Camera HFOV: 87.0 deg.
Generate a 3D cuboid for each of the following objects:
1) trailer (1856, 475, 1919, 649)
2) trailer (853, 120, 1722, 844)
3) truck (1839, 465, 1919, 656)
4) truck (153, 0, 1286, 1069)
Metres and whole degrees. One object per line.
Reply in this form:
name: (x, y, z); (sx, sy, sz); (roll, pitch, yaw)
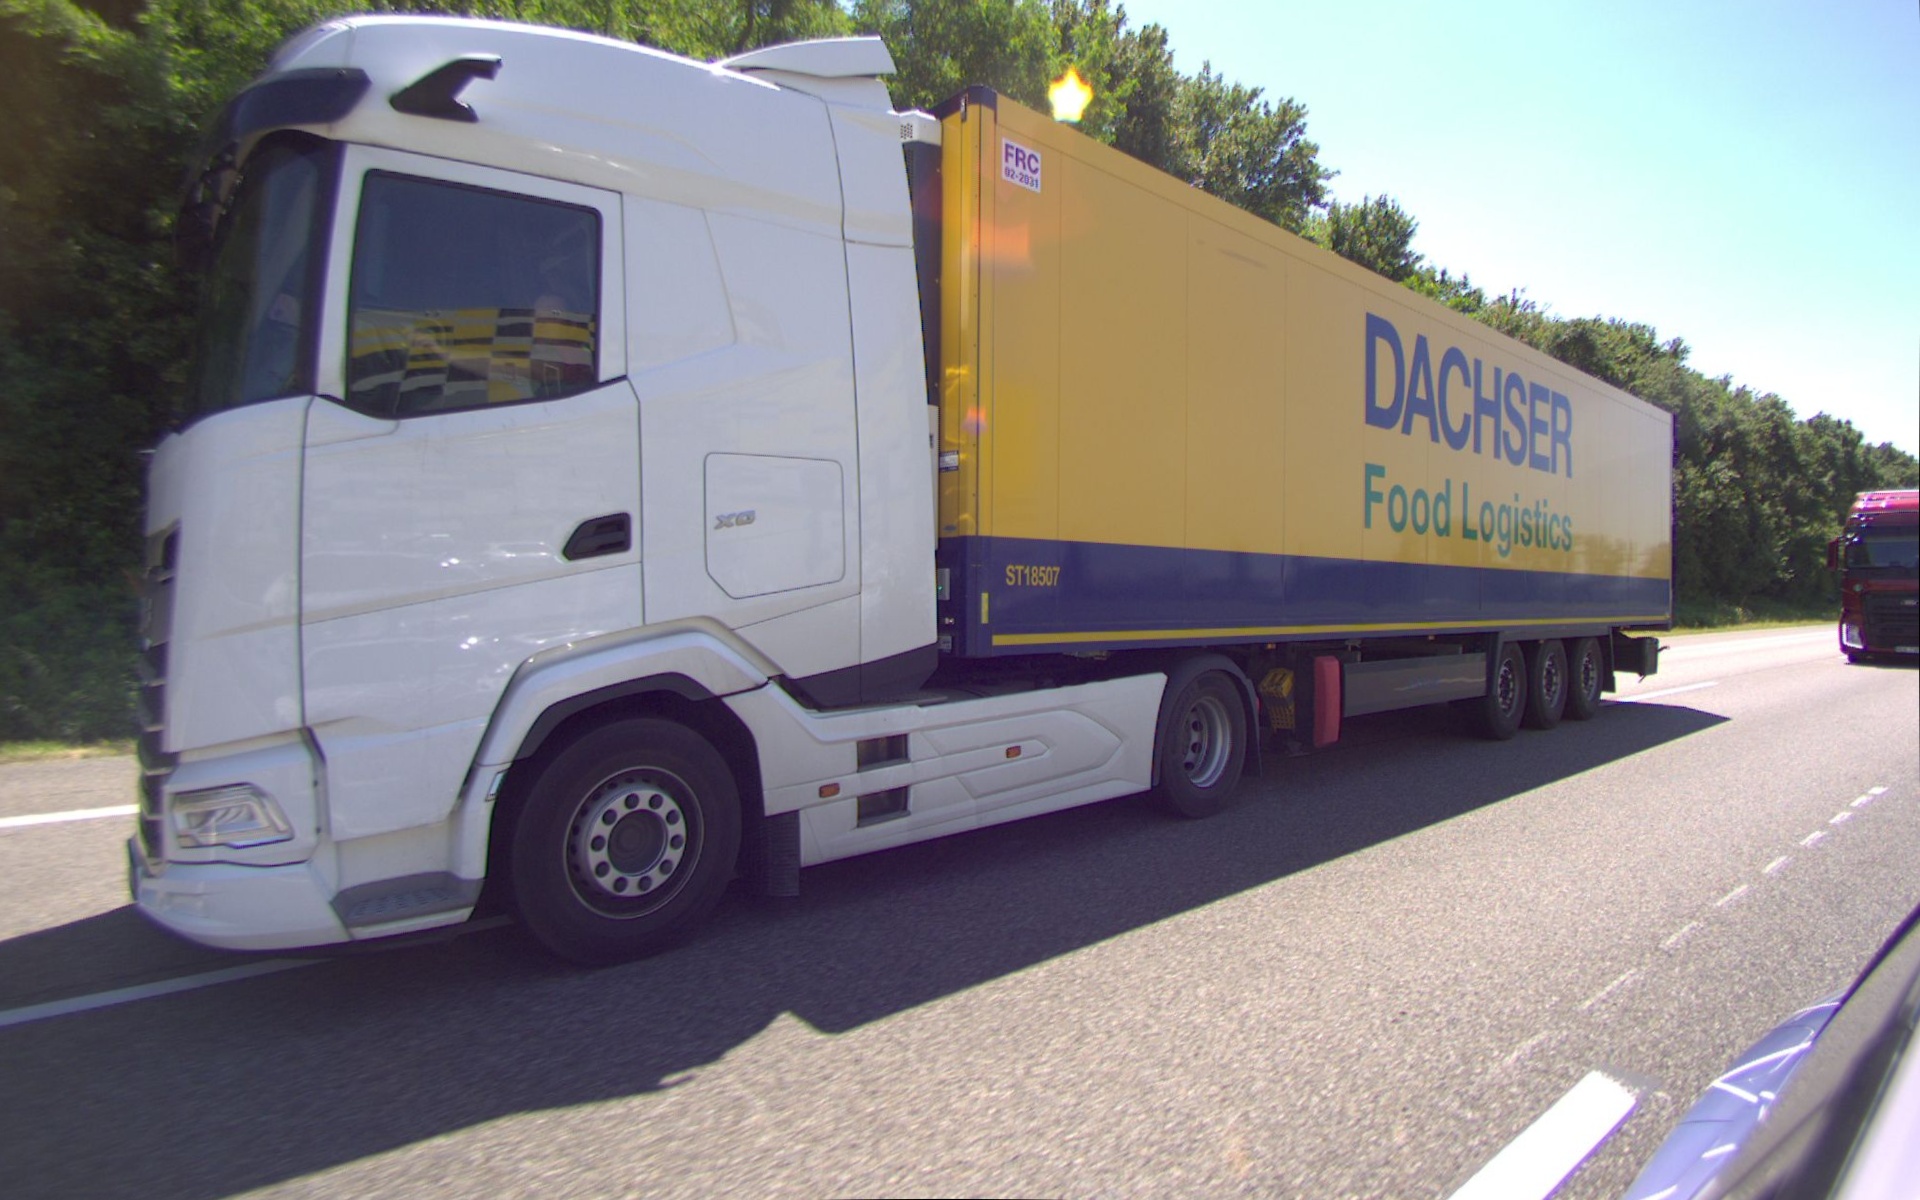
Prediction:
trailer: (27.871, -0.931, 28.233); (13.599, 4.121, 2.882); (0, 1, -42)
trailer: (5.148, -0.728, 11.286); (13.595, 4.121, 2.682); (0, 1, -41)
truck: (22.812, -0.865, 23.592); (5.673, 4.121, 2.866); (0, 1, -42)
truck: (-0.885, -0.723, 5.947); (5.943, 4.121, 2.682); (0, 1, -41)
